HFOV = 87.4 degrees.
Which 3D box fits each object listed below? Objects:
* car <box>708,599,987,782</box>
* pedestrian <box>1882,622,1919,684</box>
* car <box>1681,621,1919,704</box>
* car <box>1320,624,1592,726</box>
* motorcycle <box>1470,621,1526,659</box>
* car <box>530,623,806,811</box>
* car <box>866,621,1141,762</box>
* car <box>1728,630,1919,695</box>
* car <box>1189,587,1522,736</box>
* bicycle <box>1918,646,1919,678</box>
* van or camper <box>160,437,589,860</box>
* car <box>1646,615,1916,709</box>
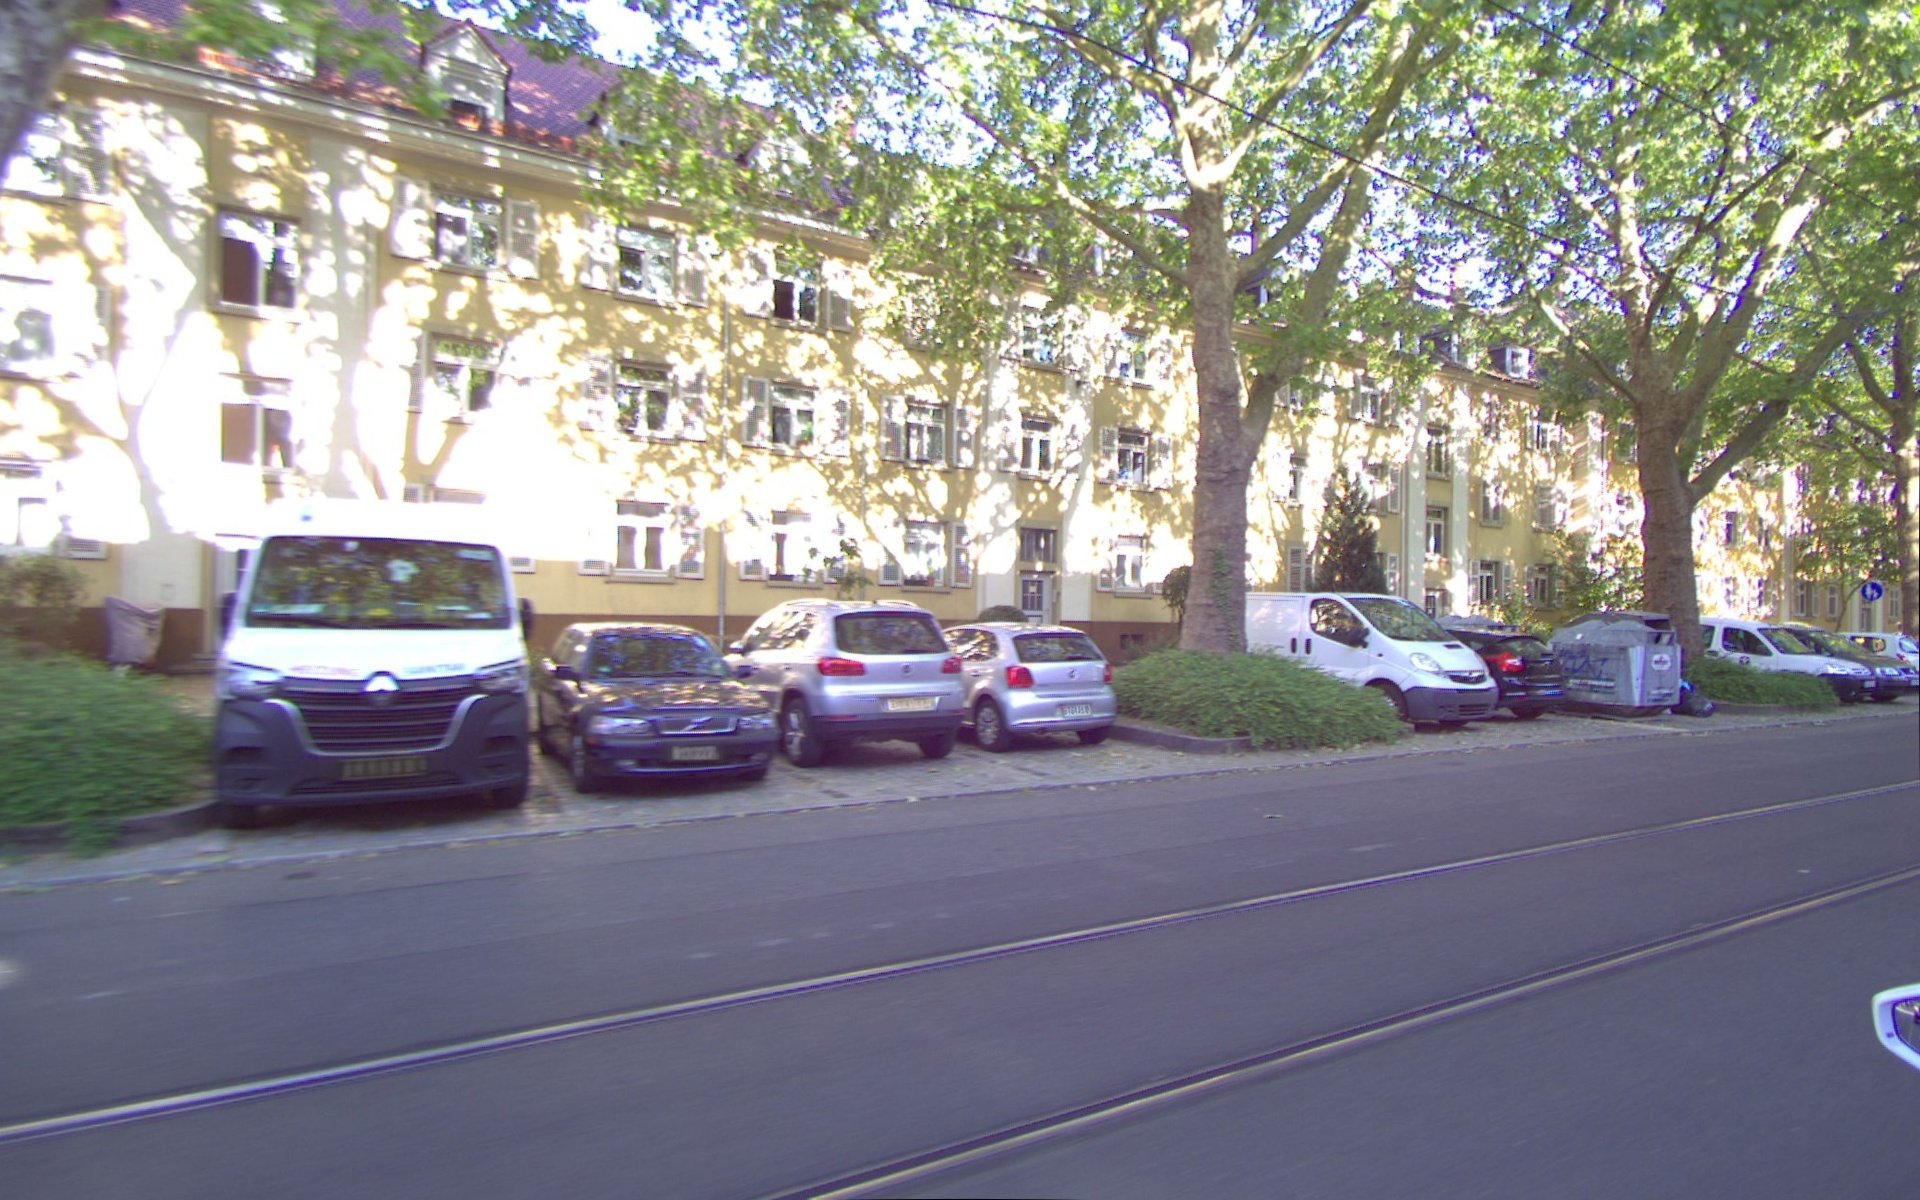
[{"bbox_3d":[-1.442,0.893,11.401,1.839,1.685,3.831,1,-2,-29],"label":"car"},{"bbox_3d":[27.610,1.534,29.314,0.787,1.768,0.818,2,0,-29],"label":"pedestrian"},{"bbox_3d":[19.349,1.356,23.048,1.905,1.710,4.226,1,-2,-22],"label":"car"},{"bbox_3d":[8.316,1.182,17.171,1.839,1.517,3.831,1,-2,-29],"label":"car"},{"bbox_3d":[18.367,1.356,34.303,0.516,1.257,1.703,1,-1,-27],"label":"motorcycle"},{"bbox_3d":[-3.068,0.944,9.887,1.732,1.417,4.246,1,-2,-29],"label":"car"},{"bbox_3d":[0.394,1.045,12.939,1.839,1.517,3.831,1,-2,-29],"label":"car"},{"bbox_3d":[22.481,1.544,25.906,1.839,1.517,3.831,1,-2,-29],"label":"car"},{"bbox_3d":[5.978,0.841,15.790,1.940,1.971,4.631,1,-1,-32],"label":"car"},{"bbox_3d":[30.521,1.923,30.510,0.717,0.975,1.964,1,-1,-28],"label":"bicycle"},{"bbox_3d":[-5.016,0.321,9.000,2.415,2.549,5.366,1,-1,-29],"label":"van or camper"},{"bbox_3d":[17.519,1.246,21.671,1.718,1.781,4.182,1,-1,-28],"label":"car"}]
